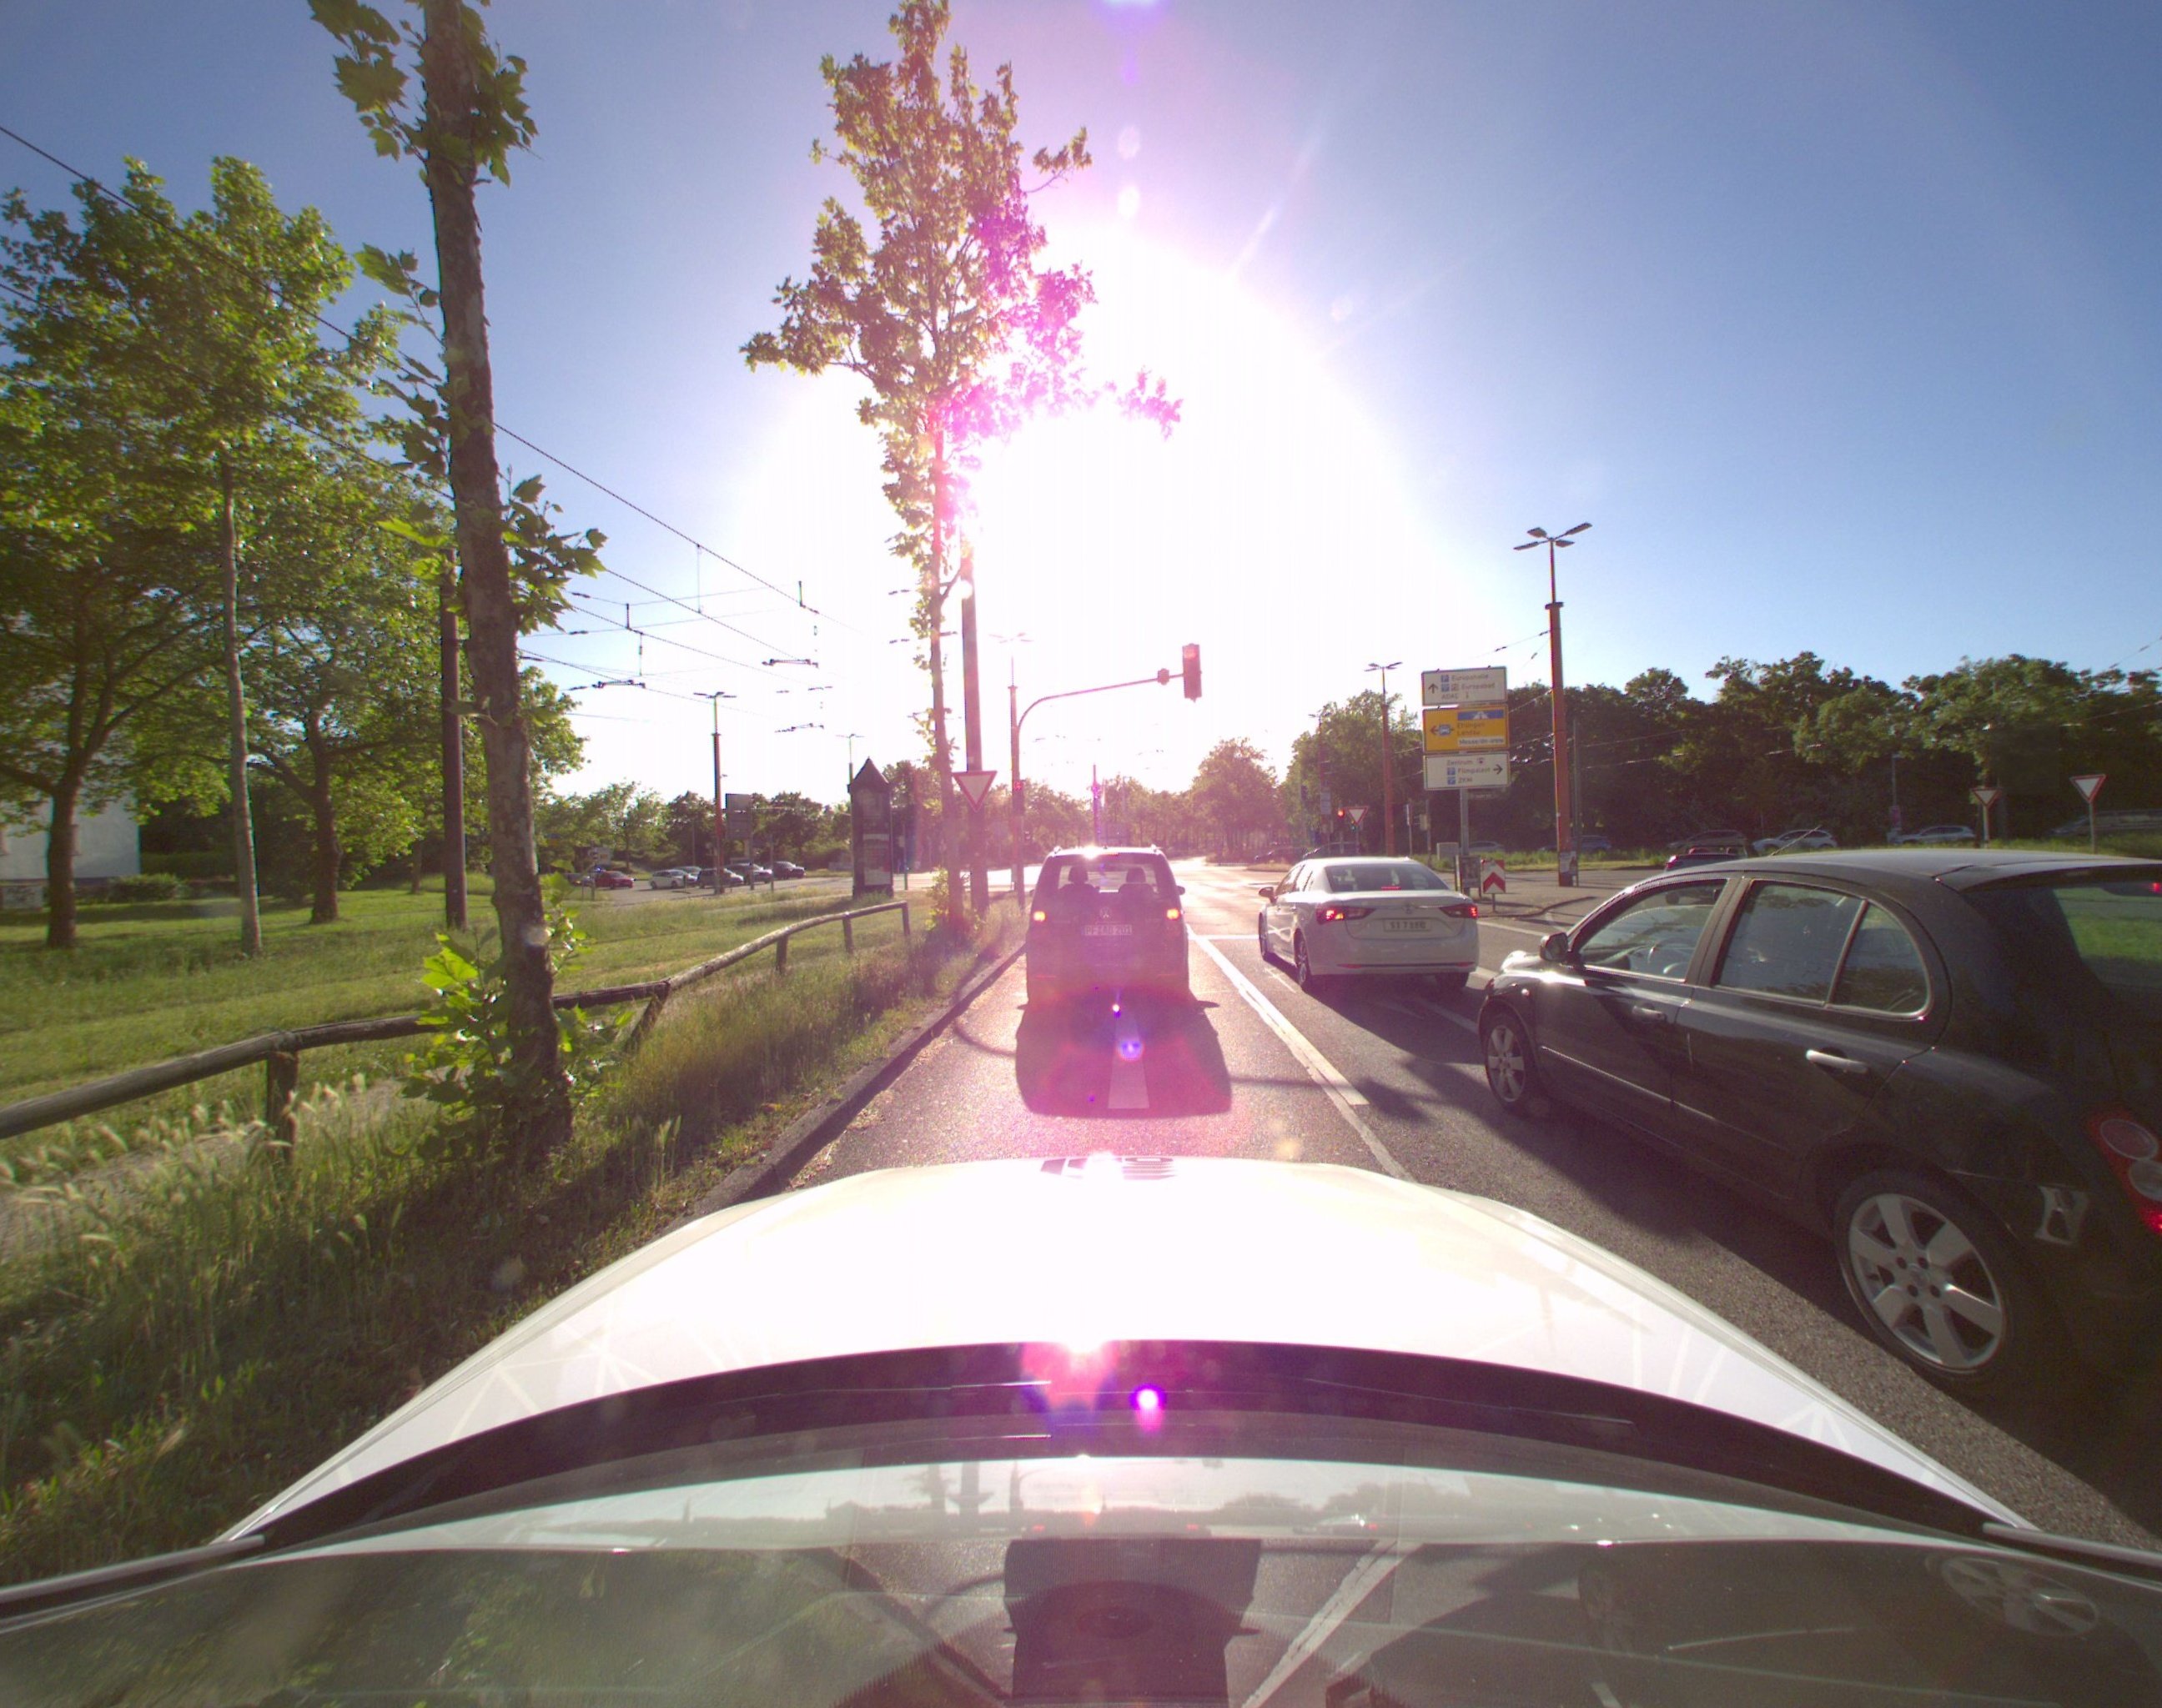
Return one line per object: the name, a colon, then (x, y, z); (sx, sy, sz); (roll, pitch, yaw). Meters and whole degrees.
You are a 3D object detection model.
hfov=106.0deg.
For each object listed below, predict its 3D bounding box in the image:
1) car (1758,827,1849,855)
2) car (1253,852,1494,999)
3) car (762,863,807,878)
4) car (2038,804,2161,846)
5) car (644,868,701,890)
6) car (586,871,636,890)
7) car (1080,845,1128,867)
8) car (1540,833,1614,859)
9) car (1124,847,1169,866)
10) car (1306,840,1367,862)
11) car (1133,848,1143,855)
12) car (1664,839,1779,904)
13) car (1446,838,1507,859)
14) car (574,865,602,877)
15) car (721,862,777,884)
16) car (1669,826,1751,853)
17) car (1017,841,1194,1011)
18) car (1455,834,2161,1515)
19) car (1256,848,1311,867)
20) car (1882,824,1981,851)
car: (42.954, -0.756, 48.513); (3.782, 1.523, 1.706); (-2, 0, 31)
car: (3.328, 0.711, 10.142); (1.713, 1.438, 4.202); (-1, 0, 3)
car: (-26.526, 1.481, 72.846); (3.948, 1.330, 1.709); (-2, 0, 33)
car: (53.792, -1.486, 42.503); (4.526, 2.013, 2.013); (-2, 0, 33)
car: (-32.430, 2.001, 64.646); (4.135, 1.612, 1.880); (-2, 0, 27)
car: (-39.409, 2.243, 68.246); (3.949, 1.513, 1.743); (-2, 0, 27)
car: (1.999, 0.194, 70.350); (3.797, 1.890, 1.774); (0, -1, 25)
car: (32.837, -0.519, 54.056); (4.080, 1.598, 1.840); (-2, 0, 29)
car: (5.827, 0.195, 72.613); (3.608, 1.655, 1.690); (0, -1, 27)
car: (19.351, -0.192, 61.629); (4.139, 1.644, 1.770); (0, -1, 28)
car: (12.595, -0.577, 180.359); (1.904, 1.635, 4.010); (0, 0, 9)
car: (16.329, 0.402, 20.680); (4.155, 1.450, 1.718); (-1, -1, -44)
car: (28.946, -0.377, 59.683); (3.926, 1.441, 1.697); (0, -1, 29)
car: (-69.134, 2.403, 114.216); (4.060, 1.656, 1.815); (-2, 0, 34)
car: (-26.576, 1.544, 65.259); (3.950, 1.644, 2.012); (-2, 0, 26)
car: (41.474, -0.942, 53.801); (4.080, 1.644, 1.864); (-2, 0, 31)
car: (0.292, 0.710, 9.931); (1.694, 1.621, 3.898); (-2, 0, 1)
car: (3.235, 0.697, 3.583); (1.647, 1.500, 3.617); (-1, 0, 2)
car: (16.623, 0.286, 66.839); (4.082, 1.511, 1.834); (0, -1, 28)
car: (50.004, -0.962, 47.985); (3.700, 1.473, 1.610); (-2, 0, 28)
